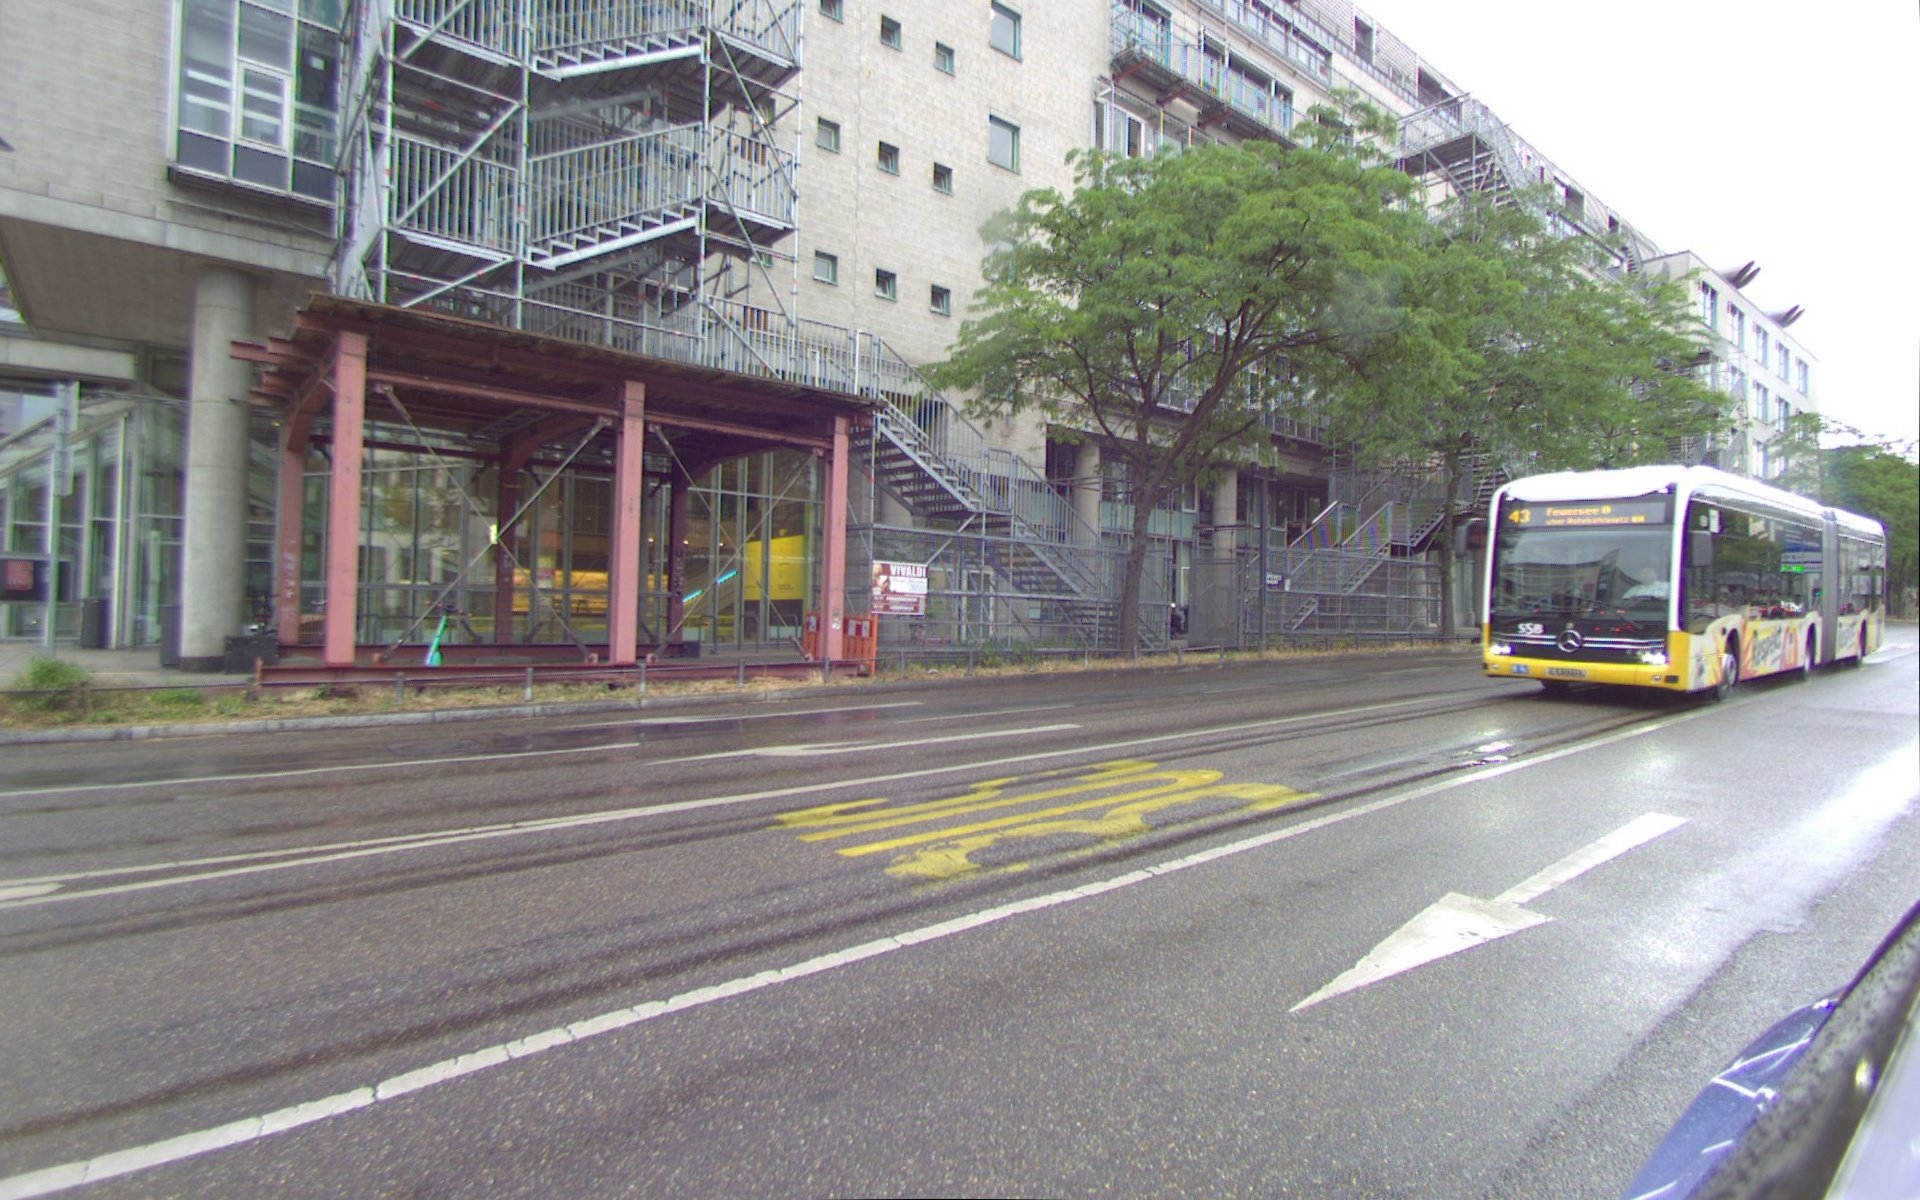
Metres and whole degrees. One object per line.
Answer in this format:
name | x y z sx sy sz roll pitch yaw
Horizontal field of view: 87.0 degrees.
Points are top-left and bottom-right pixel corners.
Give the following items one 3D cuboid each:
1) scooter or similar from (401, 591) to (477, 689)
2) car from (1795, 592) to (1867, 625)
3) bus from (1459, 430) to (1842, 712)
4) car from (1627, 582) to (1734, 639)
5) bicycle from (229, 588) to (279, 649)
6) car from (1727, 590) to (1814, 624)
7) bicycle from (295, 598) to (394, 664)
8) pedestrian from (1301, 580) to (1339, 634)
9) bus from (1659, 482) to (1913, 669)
scooter or similar | -6.928 0.490 13.413 0.576 1.209 1.782 1 0 -38
car | 44.372 0.372 51.525 4.733 1.580 2.145 -1 1 -41
bus | 11.838 -0.413 16.791 9.586 3.494 2.888 -1 0 -41
car | 26.079 0.338 36.586 4.254 1.930 2.211 -1 0 -41
bicycle | -14.462 0.354 20.717 0.577 1.209 1.611 0 0 -44
car | 35.103 0.277 43.814 4.733 1.353 2.145 -1 1 -41
bicycle | -11.975 0.576 19.737 0.580 1.209 1.602 0 0 24
pedestrian | 12.570 0.236 35.324 0.832 1.822 1.007 0 0 -45
bus | 19.070 -0.513 23.059 9.541 3.483 2.888 -1 0 -41
